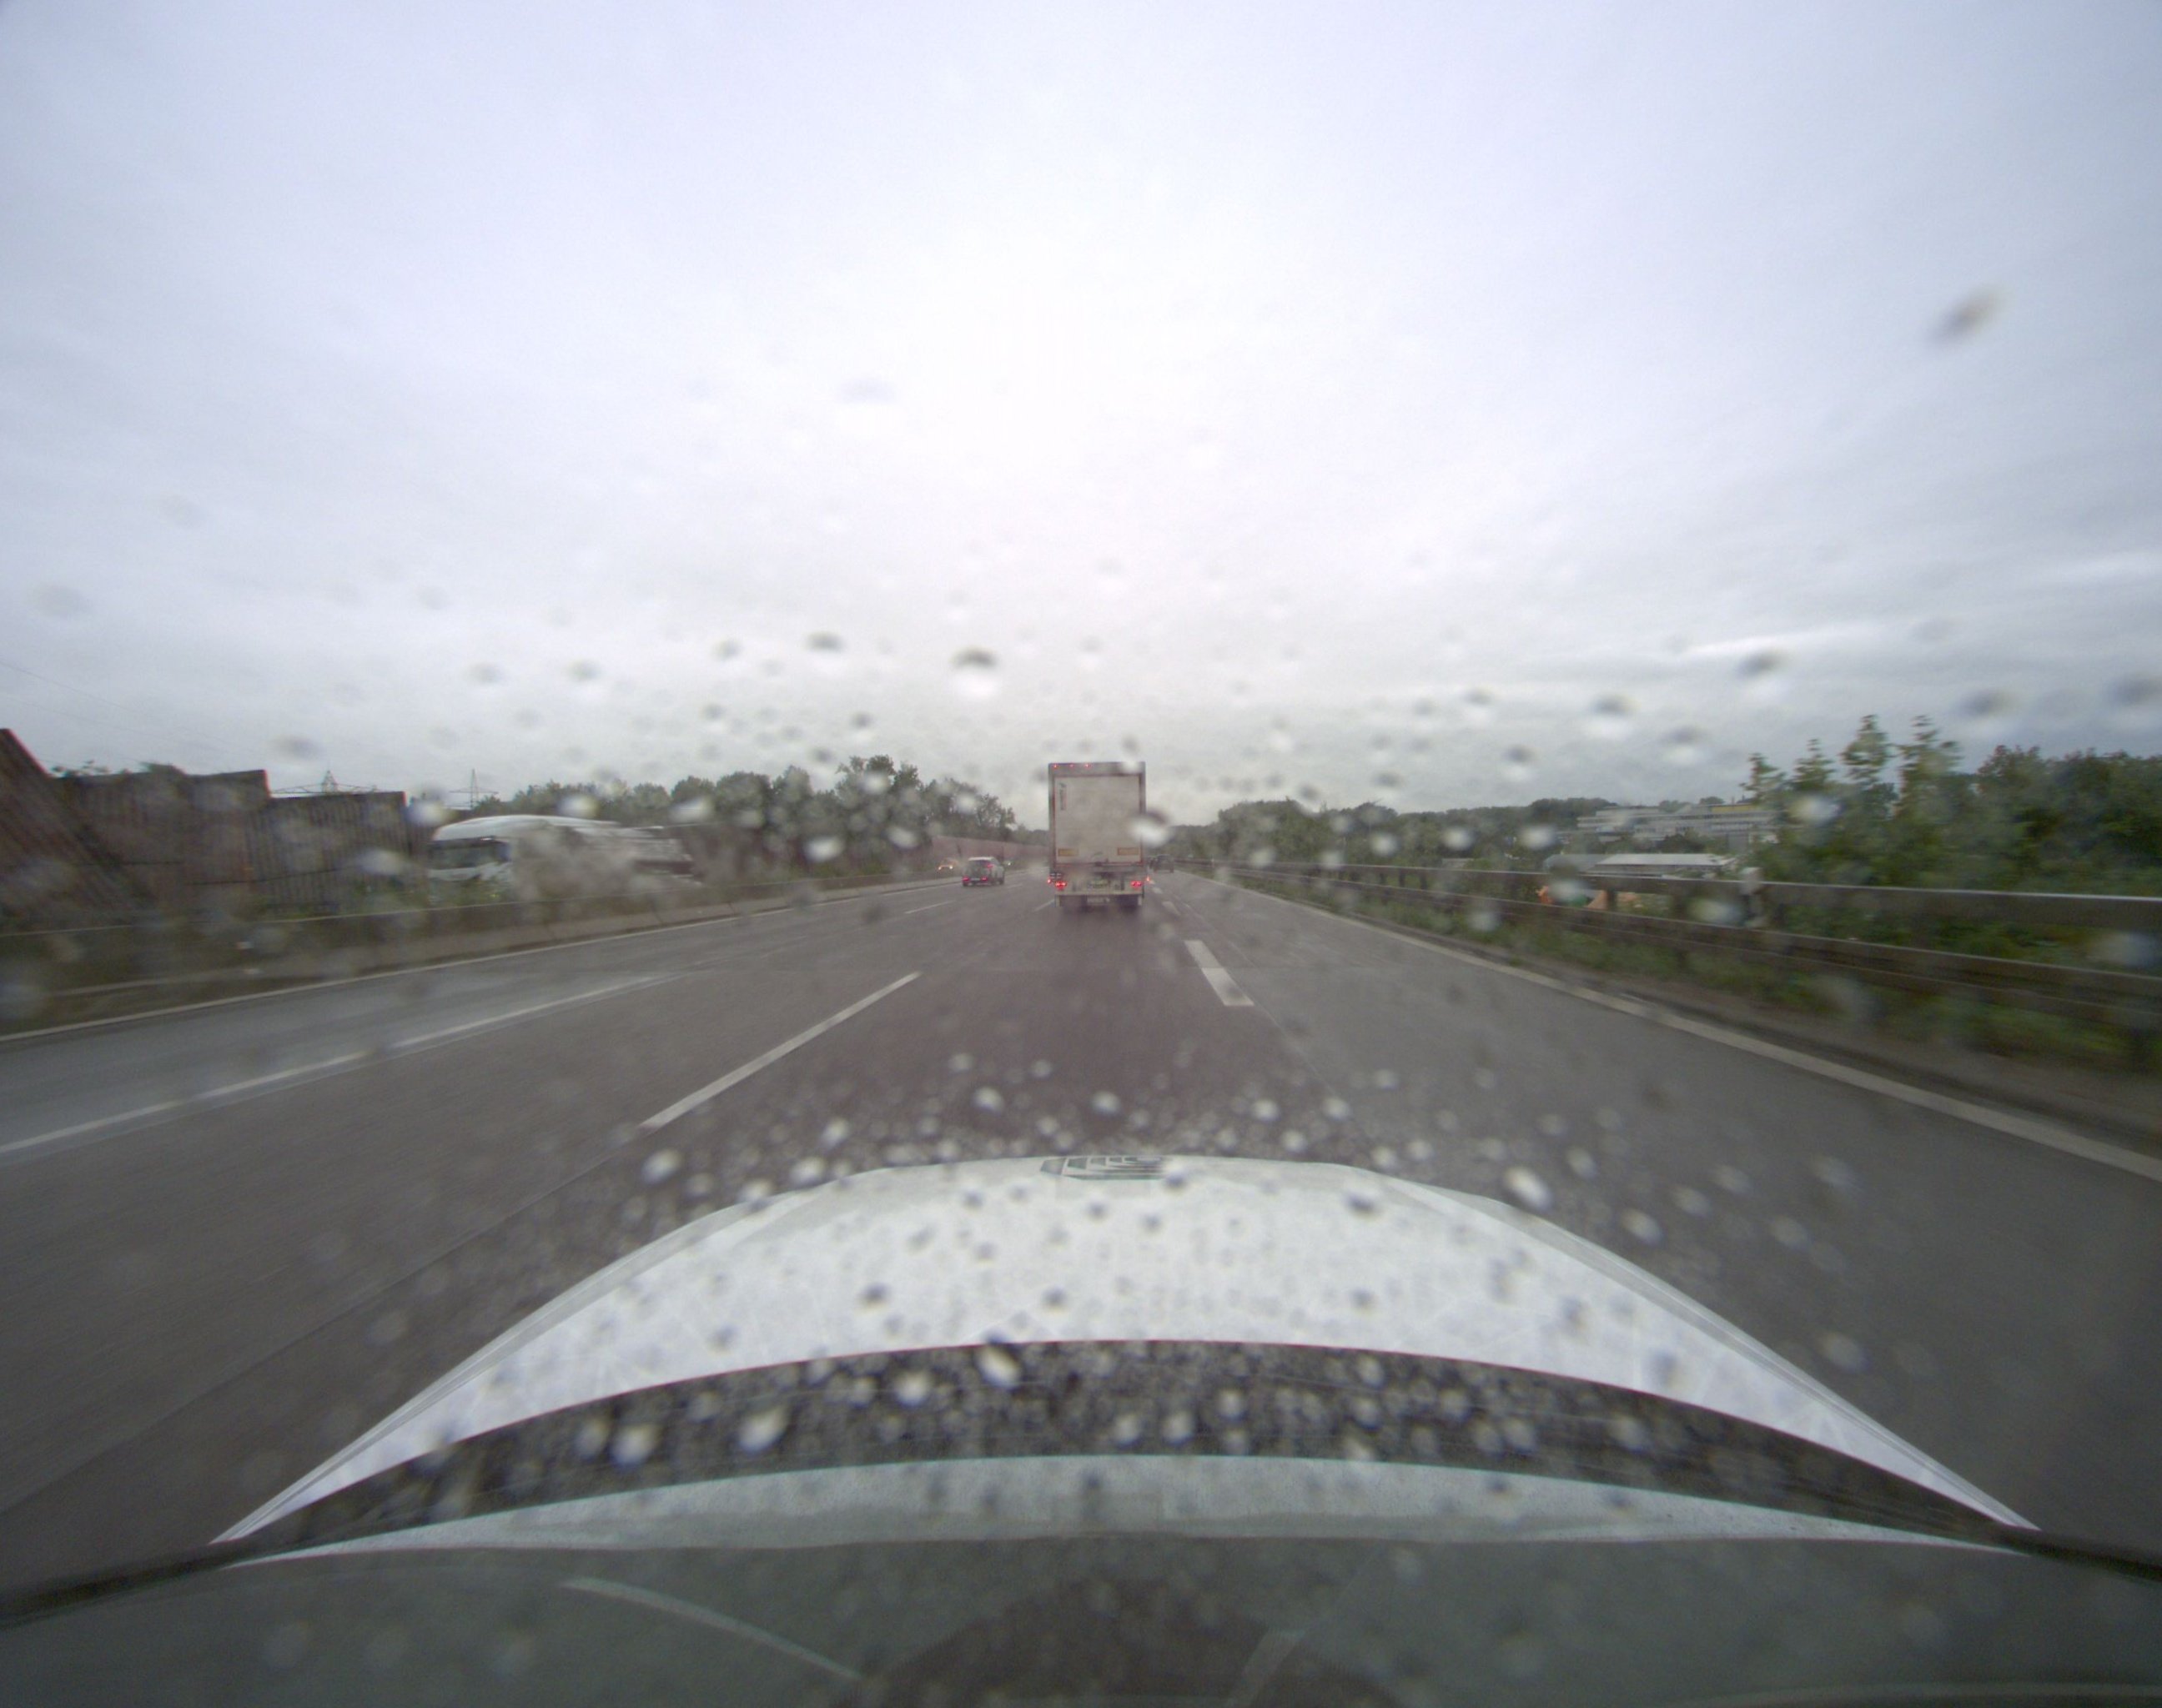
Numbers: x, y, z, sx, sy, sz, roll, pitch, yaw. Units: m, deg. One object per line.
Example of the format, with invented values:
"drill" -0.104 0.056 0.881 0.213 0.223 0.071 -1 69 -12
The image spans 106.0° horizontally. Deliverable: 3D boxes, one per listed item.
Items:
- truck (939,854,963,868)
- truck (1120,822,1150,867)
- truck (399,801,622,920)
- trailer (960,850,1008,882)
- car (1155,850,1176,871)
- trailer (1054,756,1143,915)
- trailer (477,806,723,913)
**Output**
"truck" -17.408 0.934 109.069 1.985 1.739 5.021 -1 0 4
"truck" 6.552 -1.132 99.200 3.519 5.183 9.901 0 0 3
"truck" -22.303 0.214 32.609 3.044 4.186 7.894 0 0 3
"trailer" -5.324 0.626 45.289 1.807 1.624 4.572 -1 0 3
"car" 8.048 0.570 77.525 1.888 1.949 4.005 0 0 5
"trailer" 0.910 -0.603 28.757 2.332 4.157 14.841 0 1 3
"trailer" -21.963 0.210 38.897 3.044 4.186 13.580 0 0 3
